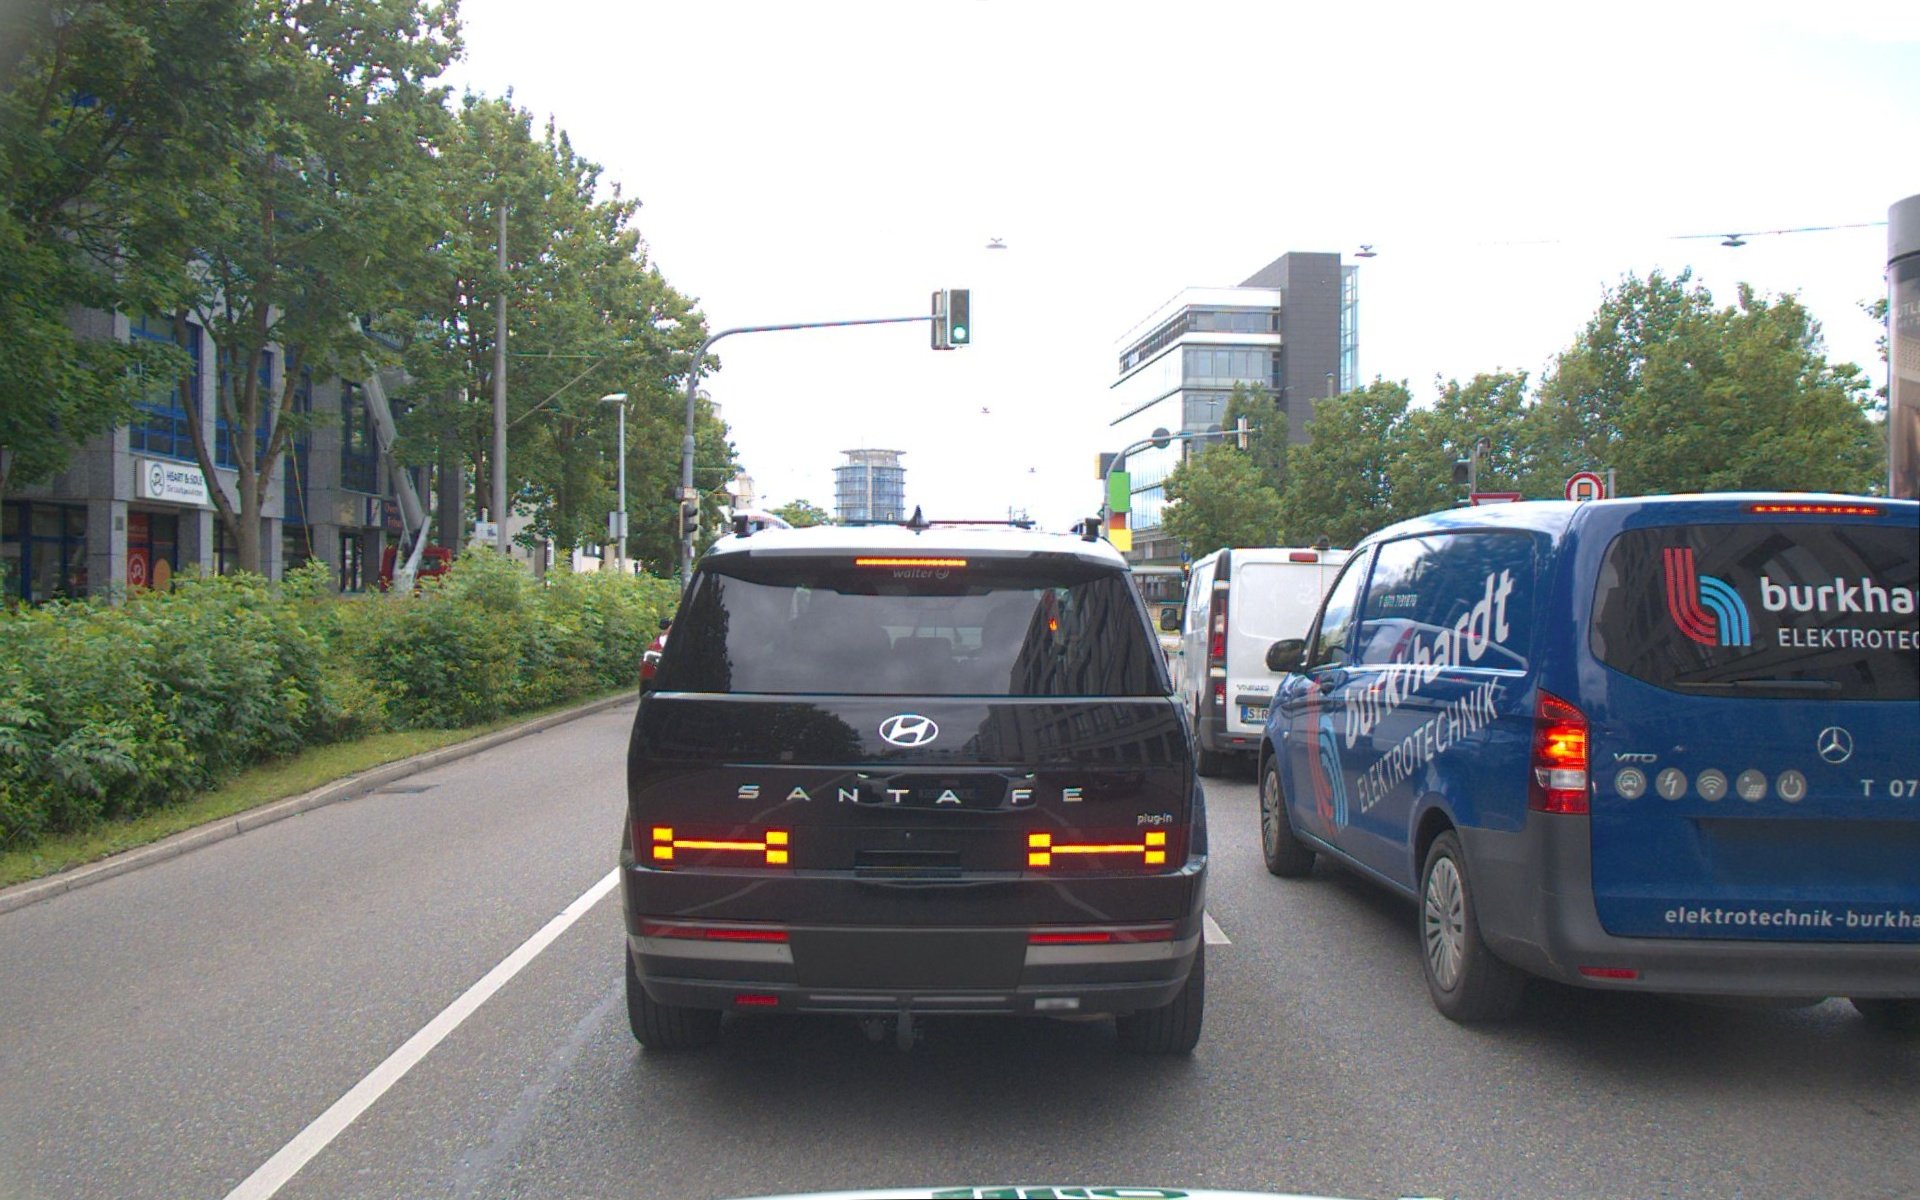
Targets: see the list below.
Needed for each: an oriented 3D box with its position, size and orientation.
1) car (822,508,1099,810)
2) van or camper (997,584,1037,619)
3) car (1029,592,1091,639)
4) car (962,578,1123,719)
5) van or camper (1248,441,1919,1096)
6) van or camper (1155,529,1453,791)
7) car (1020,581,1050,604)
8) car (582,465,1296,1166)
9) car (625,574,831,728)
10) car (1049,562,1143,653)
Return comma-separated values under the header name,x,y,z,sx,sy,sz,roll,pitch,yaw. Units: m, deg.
name,x,y,z,sx,sy,sz,roll,pitch,yaw
car,-0.024,0.392,13.148,1.876,2.038,3.879,0,0,-1
van or camper,4.381,0.109,126.949,1.951,2.591,6.583,0,0,12
car,3.644,0.572,60.699,1.953,1.646,3.999,1,0,-1
car,1.244,0.626,23.037,1.738,1.747,4.342,1,0,9
van or camper,2.676,0.491,7.446,1.822,1.944,5.031,0,0,-1
van or camper,2.994,0.463,15.427,1.952,2.049,4.654,1,0,2
car,5.949,-0.594,131.572,1.954,1.713,3.997,1,0,-3
car,-0.075,0.542,6.187,1.831,1.791,3.879,0,0,-1
car,-2.686,0.567,20.076,1.809,1.608,4.116,-2,0,1
car,3.224,0.187,39.984,1.952,2.049,4.000,1,0,0
